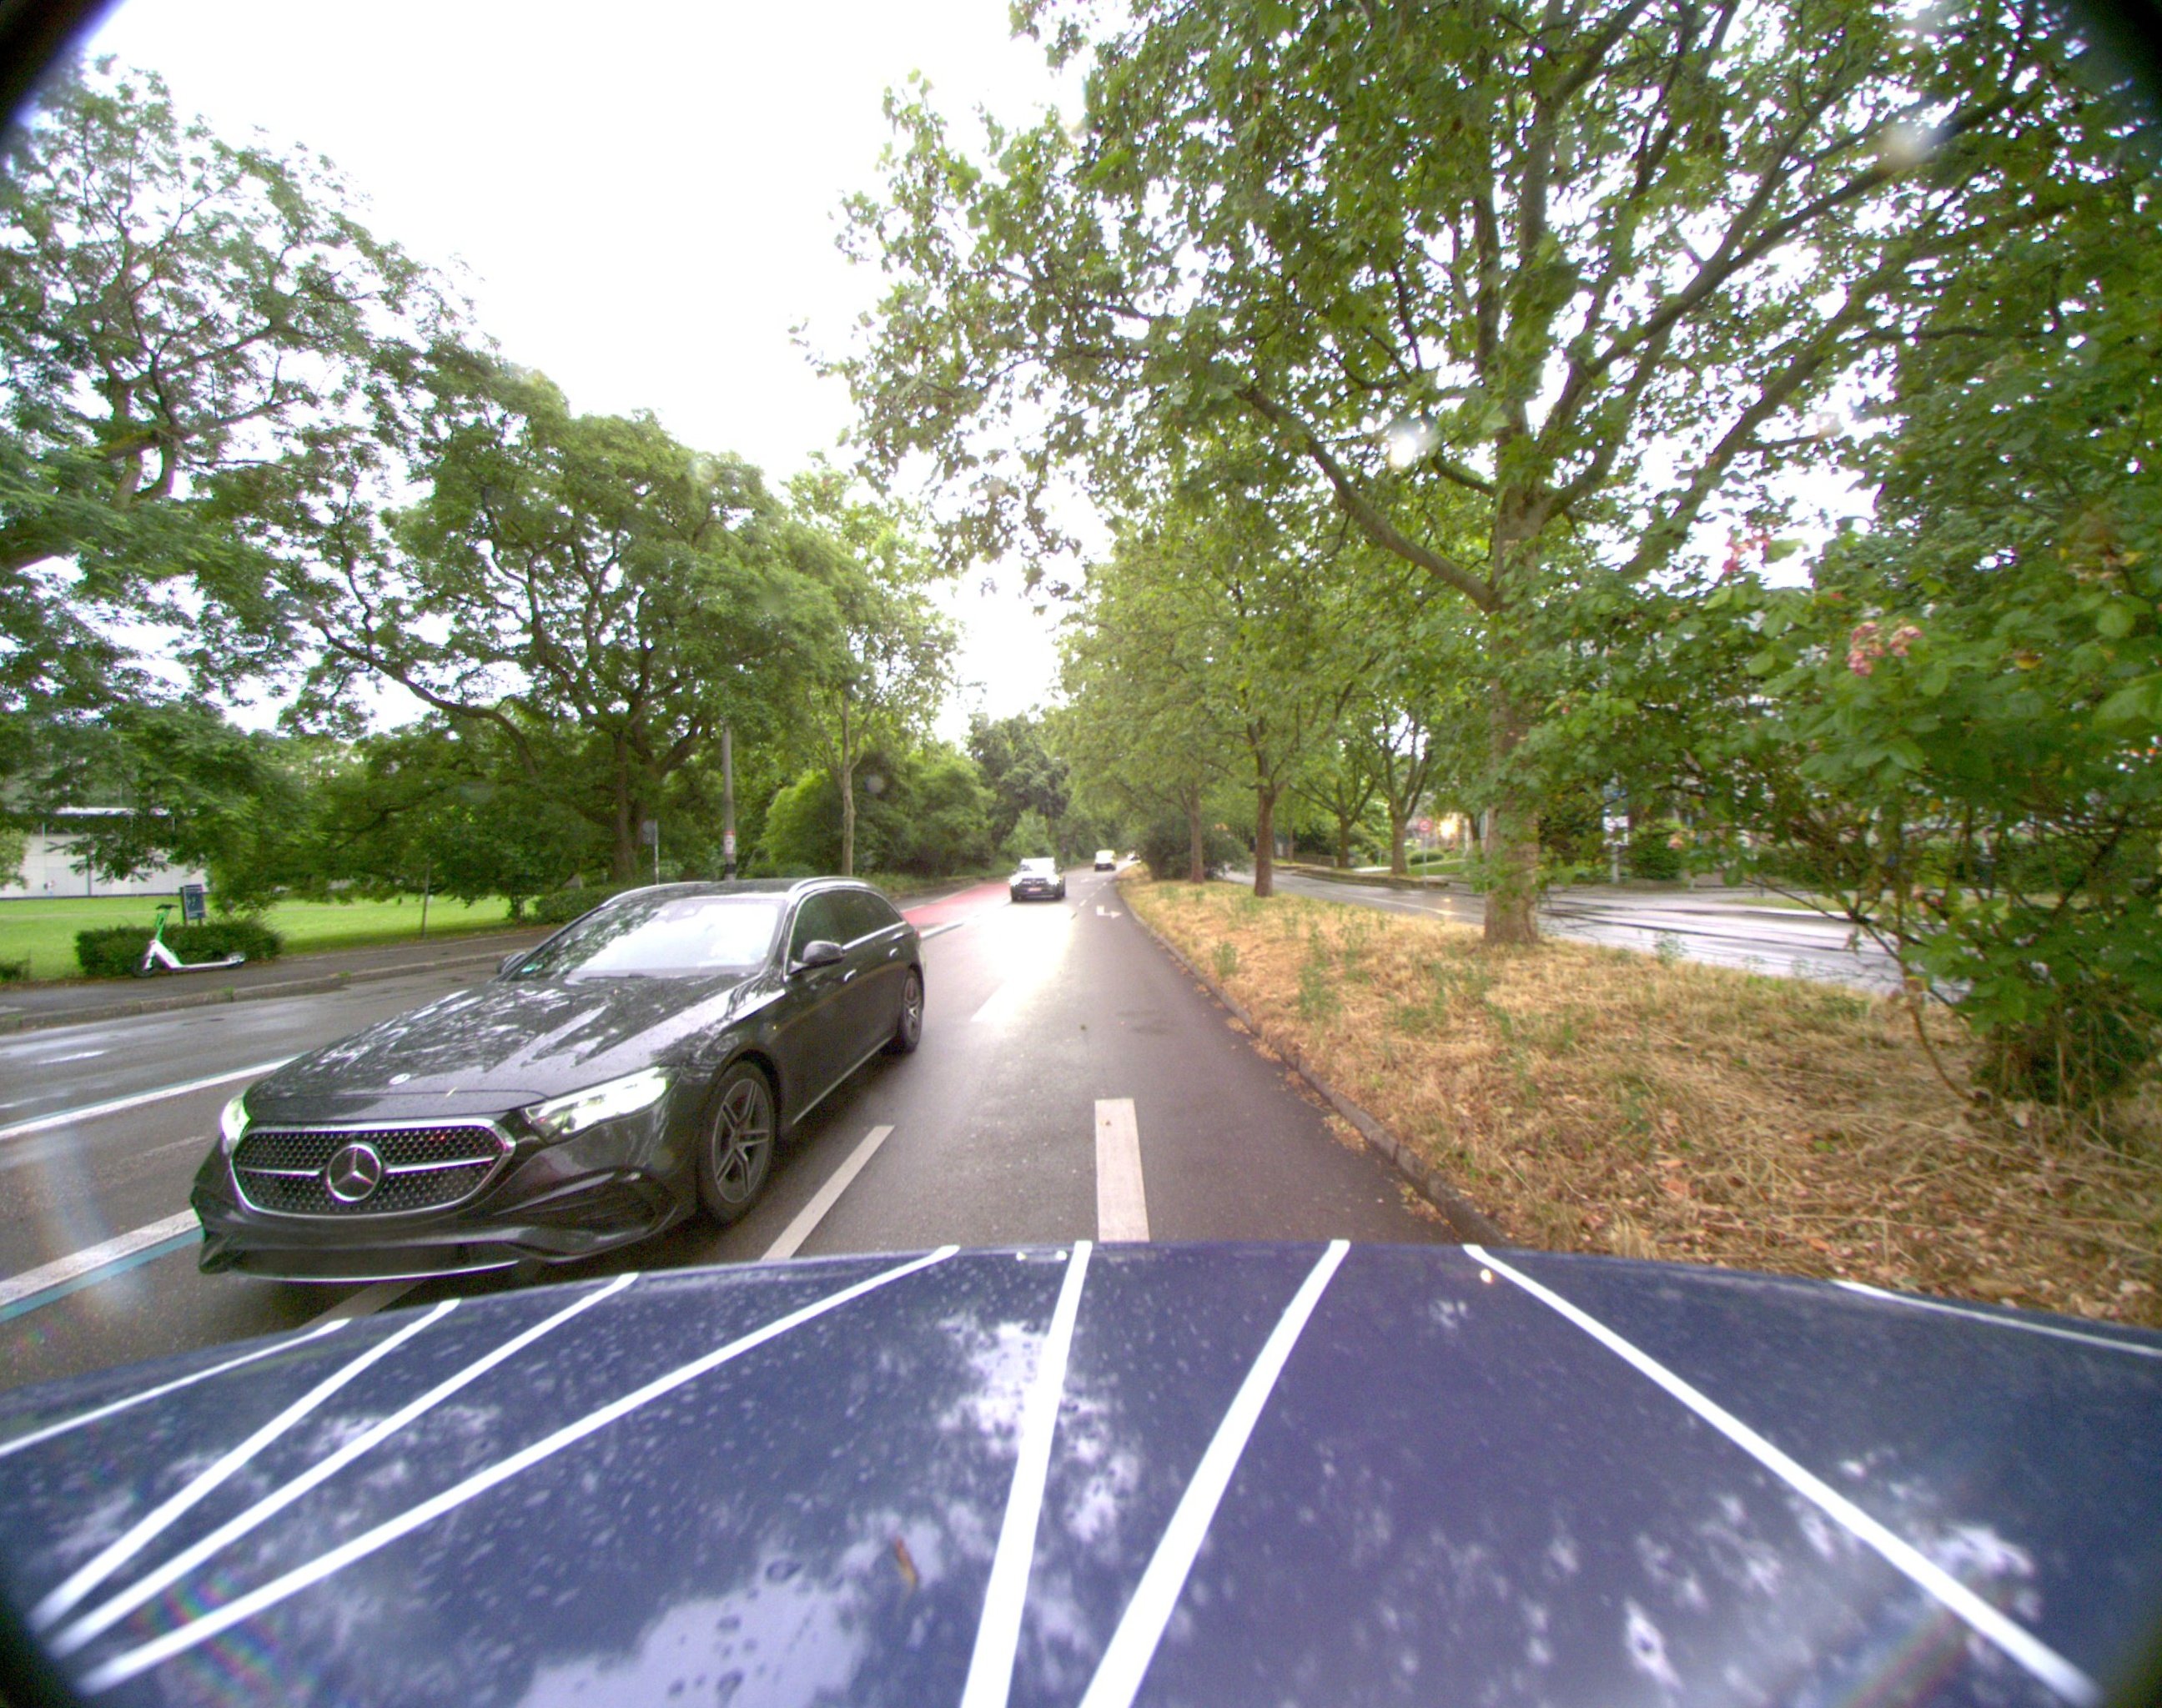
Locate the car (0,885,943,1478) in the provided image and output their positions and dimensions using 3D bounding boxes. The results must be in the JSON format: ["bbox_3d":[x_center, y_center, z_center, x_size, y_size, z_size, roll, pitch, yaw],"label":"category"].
[{"bbox_3d":[-2.385,1.049,4.611,1.884,1.437,4.931,-3,0,3],"label":"car"}]

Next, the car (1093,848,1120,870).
[{"bbox_3d":[2.382,0.402,70.046,1.883,1.865,4.744,-3,0,7],"label":"car"}]

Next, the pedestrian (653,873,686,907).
[{"bbox_3d":[-20.151,1.742,37.205,1.068,1.597,1.060,-1,2,42],"label":"pedestrian"}]

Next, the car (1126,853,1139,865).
[{"bbox_3d":[7.823,0.748,115.468,1.906,1.766,4.001,-2,0,5],"label":"car"}]

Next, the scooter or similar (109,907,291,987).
[{"bbox_3d":[-14.552,1.497,12.629,0.557,1.095,1.894,2,0,22],"label":"scooter or similar"}]

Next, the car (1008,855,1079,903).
[{"bbox_3d":[-1.404,0.925,30.359,1.832,1.599,4.579,-2,1,10],"label":"car"}]
